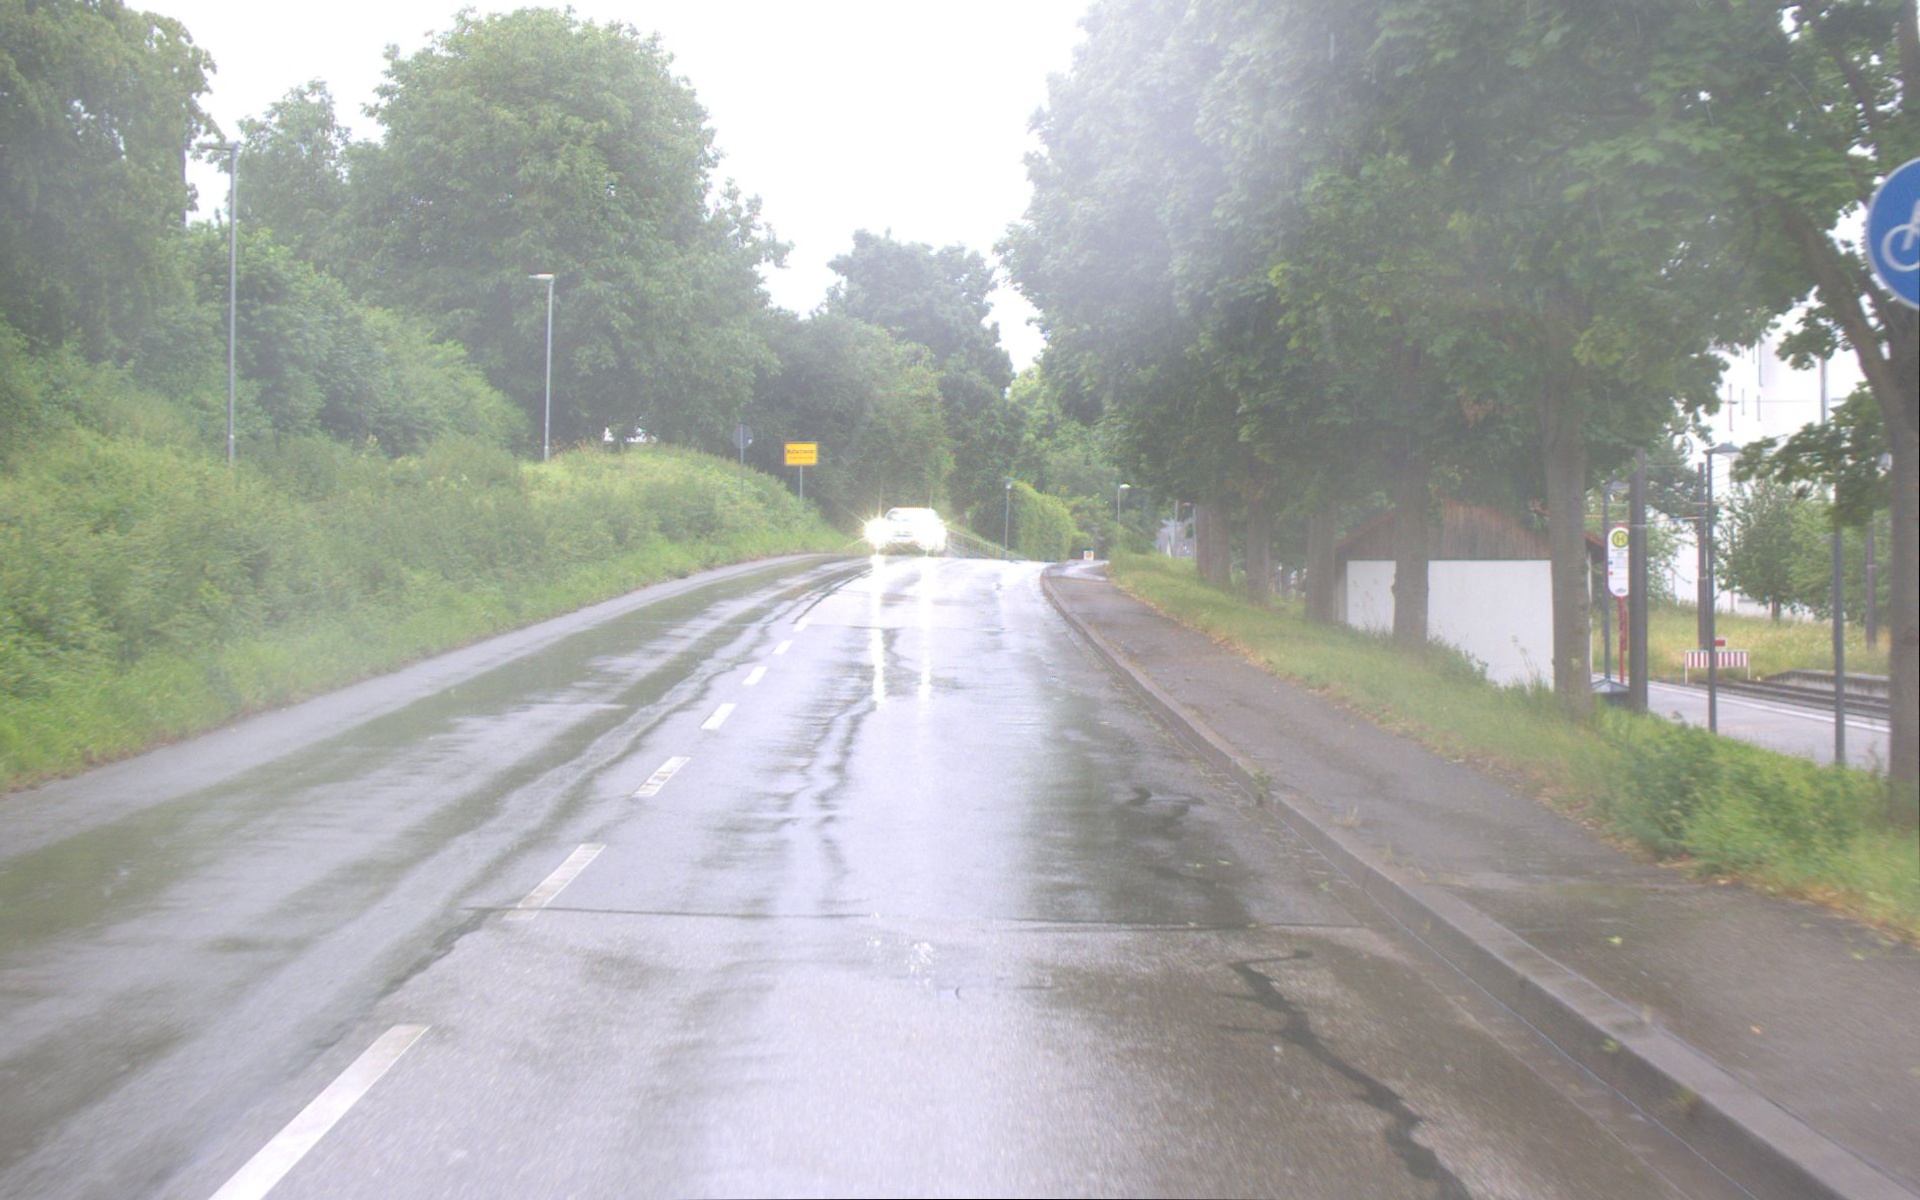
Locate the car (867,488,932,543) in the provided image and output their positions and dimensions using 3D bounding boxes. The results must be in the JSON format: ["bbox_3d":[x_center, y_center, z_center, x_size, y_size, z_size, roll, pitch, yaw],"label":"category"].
[{"bbox_3d":[-1.751,-2.489,100.756,1.781,1.499,4.001,1,3,1],"label":"car"}]
